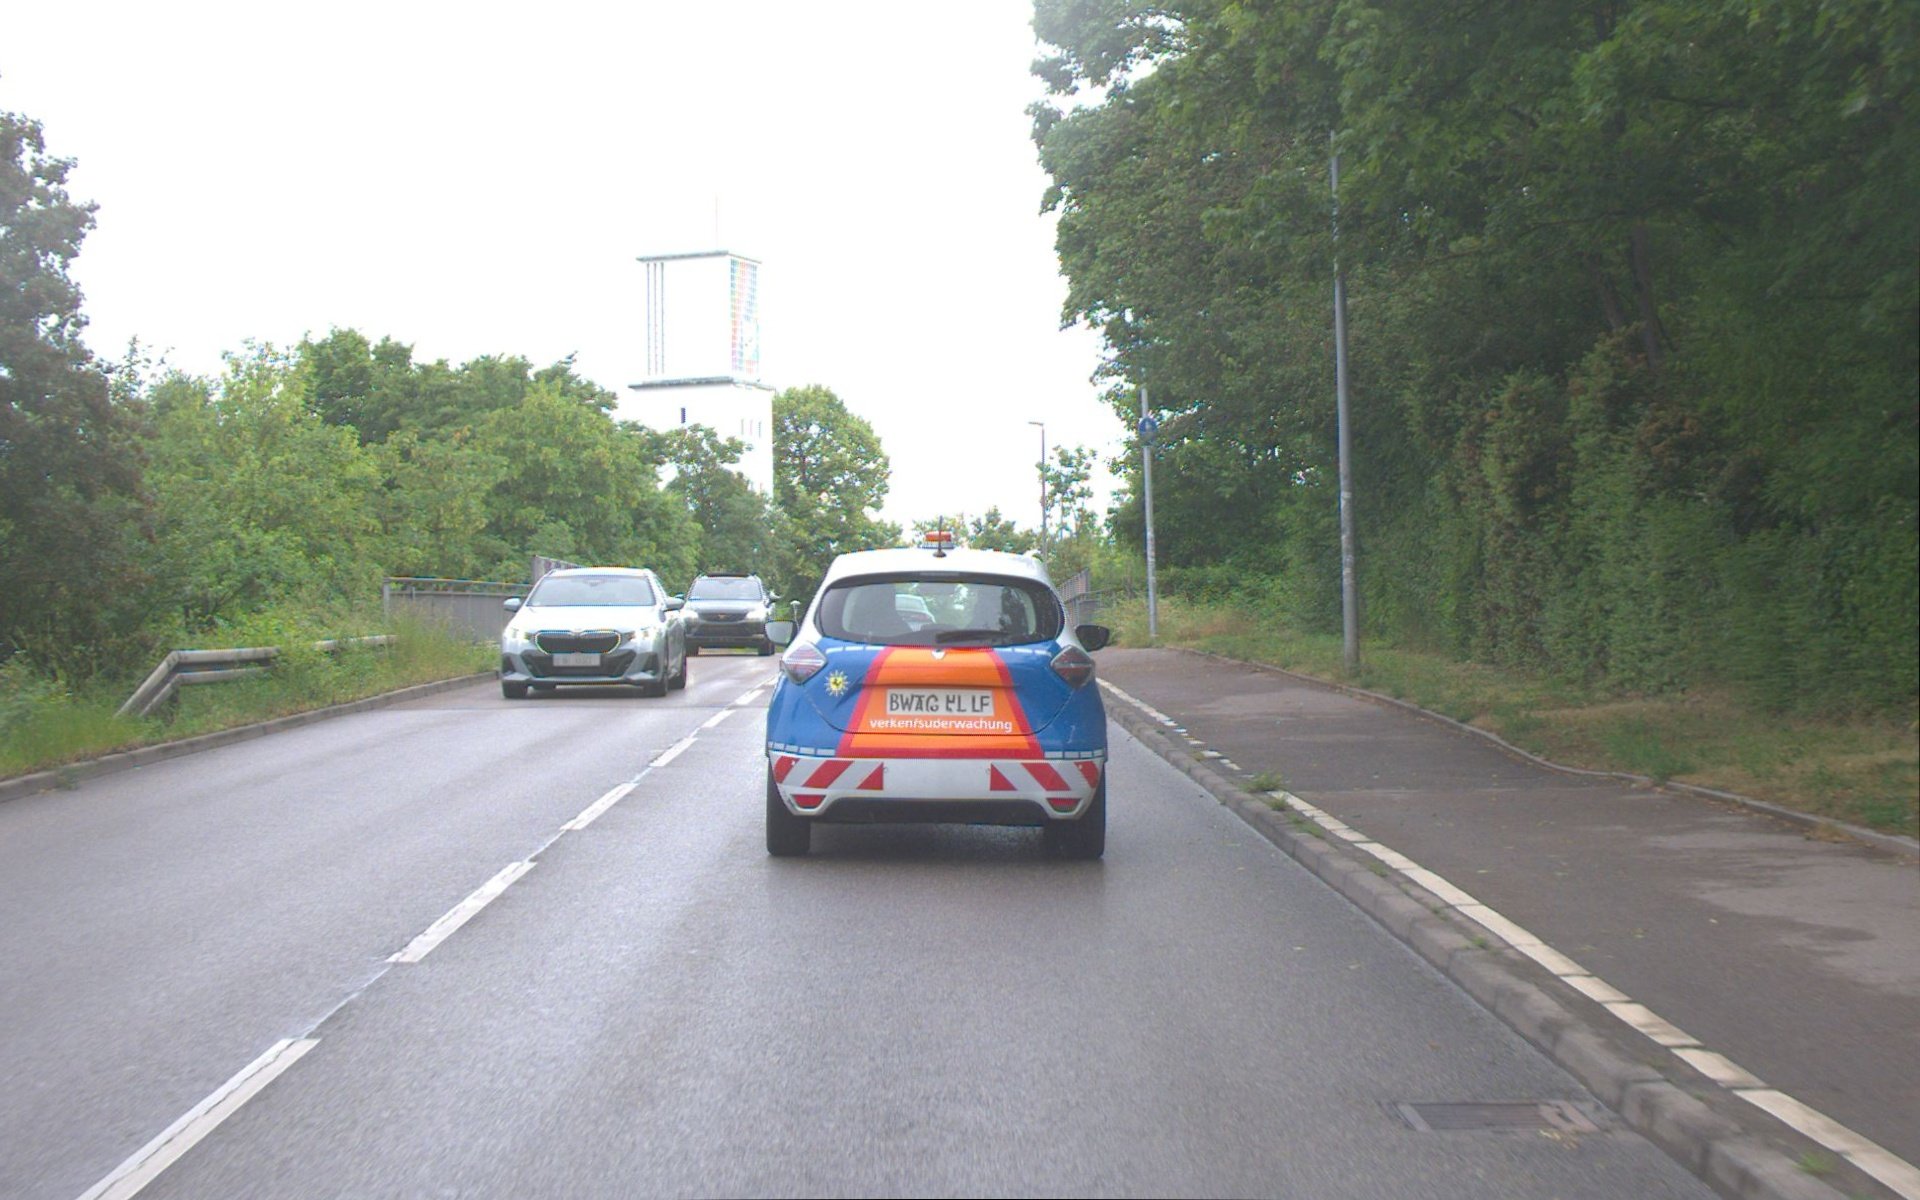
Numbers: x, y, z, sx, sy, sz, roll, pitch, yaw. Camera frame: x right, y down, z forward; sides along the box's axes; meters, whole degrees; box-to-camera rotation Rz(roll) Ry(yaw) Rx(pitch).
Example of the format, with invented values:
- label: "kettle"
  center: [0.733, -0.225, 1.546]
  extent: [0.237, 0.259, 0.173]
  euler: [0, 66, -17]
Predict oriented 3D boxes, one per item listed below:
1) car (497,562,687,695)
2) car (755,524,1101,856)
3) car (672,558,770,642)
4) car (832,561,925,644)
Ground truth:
- label: "car"
  center: [-4.353, 0.296, 41.240]
  extent: [1.861, 1.498, 4.728]
  euler: [0, 1, -1]
- label: "car"
  center: [-0.181, 0.442, 18.321]
  extent: [1.657, 1.587, 3.568]
  euler: [0, 0, -1]
- label: "car"
  center: [-4.677, -0.025, 67.591]
  extent: [1.730, 1.580, 4.081]
  euler: [0, 1, -1]
- label: "car"
  center: [-1.653, 0.038, 70.045]
  extent: [1.802, 1.584, 3.563]
  euler: [-2, 0, -1]
